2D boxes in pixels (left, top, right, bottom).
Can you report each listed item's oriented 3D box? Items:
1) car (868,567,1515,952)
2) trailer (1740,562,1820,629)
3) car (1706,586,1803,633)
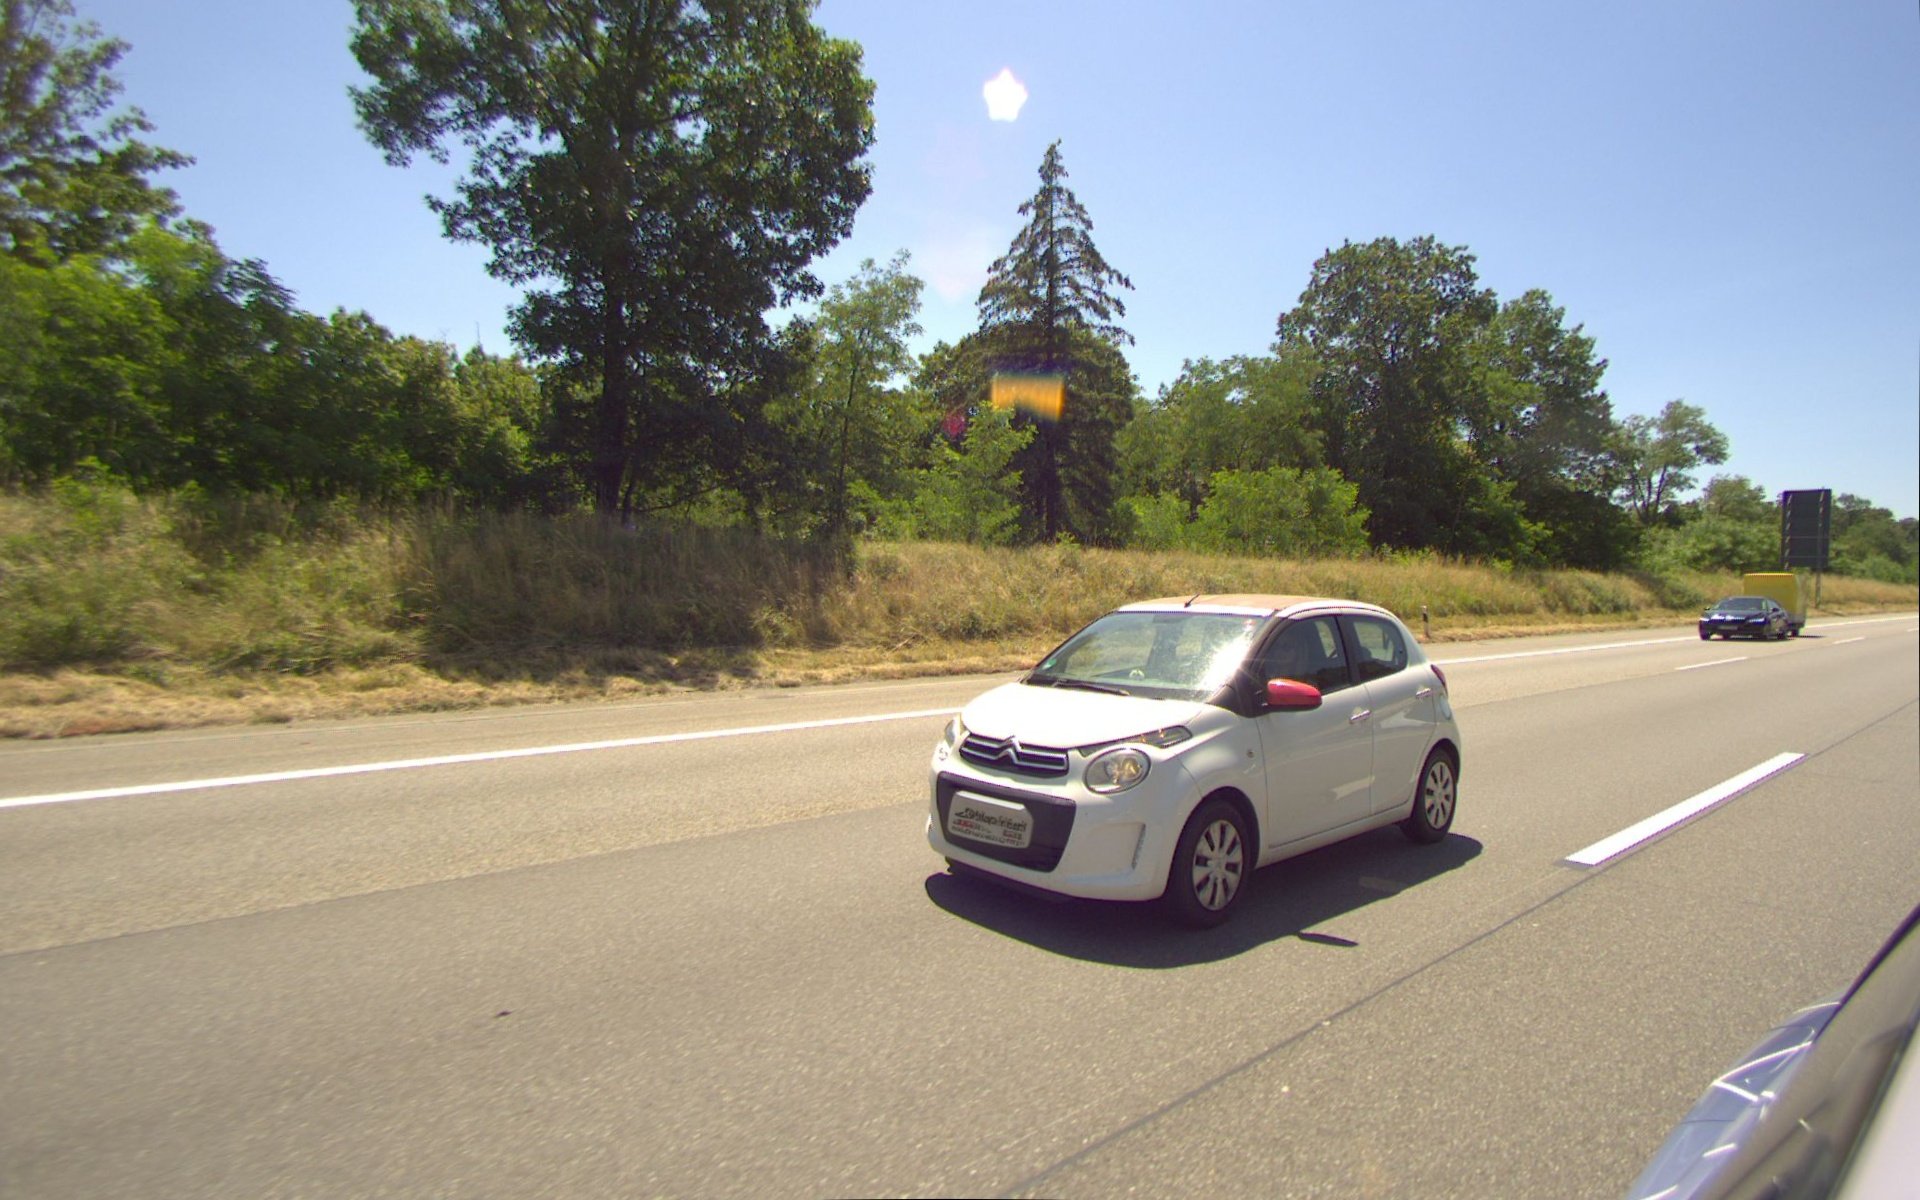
[{"bbox_3d":[1.563,0.611,5.934,3.953,1.514,1.711,0,1,-41],"label":"car"},{"bbox_3d":[29.985,-0.163,36.985,3.774,2.318,1.705,0,0,-42],"label":"trailer"},{"bbox_3d":[26.837,0.282,34.130,4.706,1.474,1.824,0,1,-42],"label":"car"}]
